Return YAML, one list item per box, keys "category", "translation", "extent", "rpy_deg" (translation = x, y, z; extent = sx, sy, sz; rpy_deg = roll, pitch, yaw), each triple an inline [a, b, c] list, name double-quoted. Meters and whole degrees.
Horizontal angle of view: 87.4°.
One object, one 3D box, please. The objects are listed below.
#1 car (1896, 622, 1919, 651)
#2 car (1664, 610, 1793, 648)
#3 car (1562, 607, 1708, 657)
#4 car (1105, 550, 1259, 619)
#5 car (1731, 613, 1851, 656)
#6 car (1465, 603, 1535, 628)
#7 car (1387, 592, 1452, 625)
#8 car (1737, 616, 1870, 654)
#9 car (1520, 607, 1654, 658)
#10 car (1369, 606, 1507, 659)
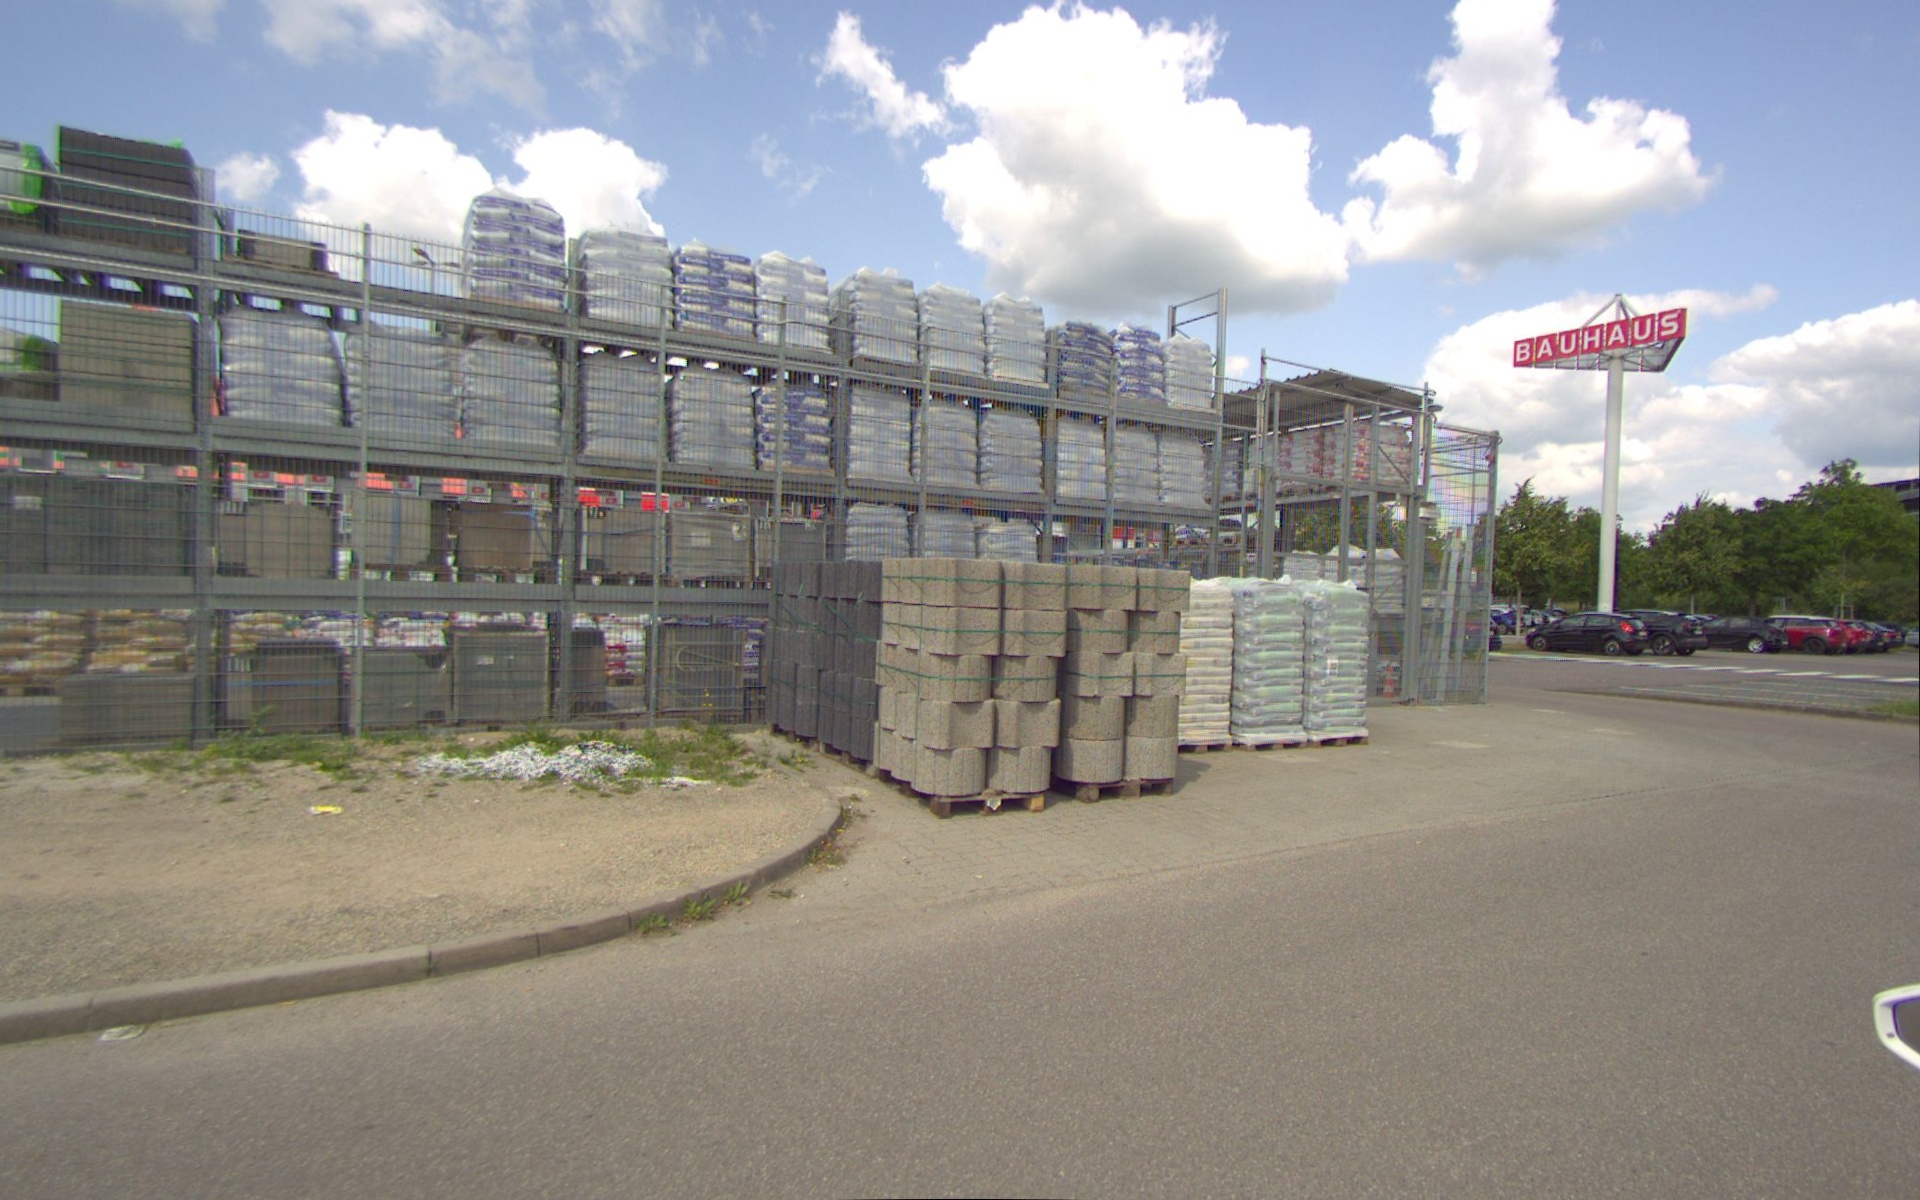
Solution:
- category: "car"
  translation: [52.631, 1.994, 53.014]
  extent: [4.560, 1.524, 1.785]
  rpy_deg: [2, 1, 4]
- category: "car"
  translation: [31.466, 1.163, 41.244]
  extent: [1.709, 1.387, 3.852]
  rpy_deg: [1, 0, -30]
- category: "car"
  translation: [24.640, 1.133, 36.808]
  extent: [1.763, 1.646, 4.050]
  rpy_deg: [1, 1, -31]
- category: "car"
  translation: [7.131, -0.502, 32.831]
  extent: [1.976, 2.040, 5.147]
  rpy_deg: [1, 0, -29]
- category: "car"
  translation: [34.248, 1.397, 41.463]
  extent: [1.690, 1.602, 3.418]
  rpy_deg: [1, 1, -31]
- category: "car"
  translation: [38.175, 1.087, 71.088]
  extent: [1.888, 1.617, 3.966]
  rpy_deg: [1, 1, -31]
- category: "car"
  translation: [39.081, 0.703, 85.516]
  extent: [2.028, 2.543, 4.692]
  rpy_deg: [2, 1, -29]
- category: "car"
  translation: [36.198, 1.487, 43.205]
  extent: [1.746, 1.417, 4.053]
  rpy_deg: [1, 1, -31]
- category: "car"
  translation: [22.469, 1.131, 36.122]
  extent: [1.766, 1.646, 3.671]
  rpy_deg: [1, 1, -34]
- category: "car"
  translation: [14.344, 0.937, 30.282]
  extent: [1.791, 1.423, 3.326]
  rpy_deg: [1, 1, -32]
